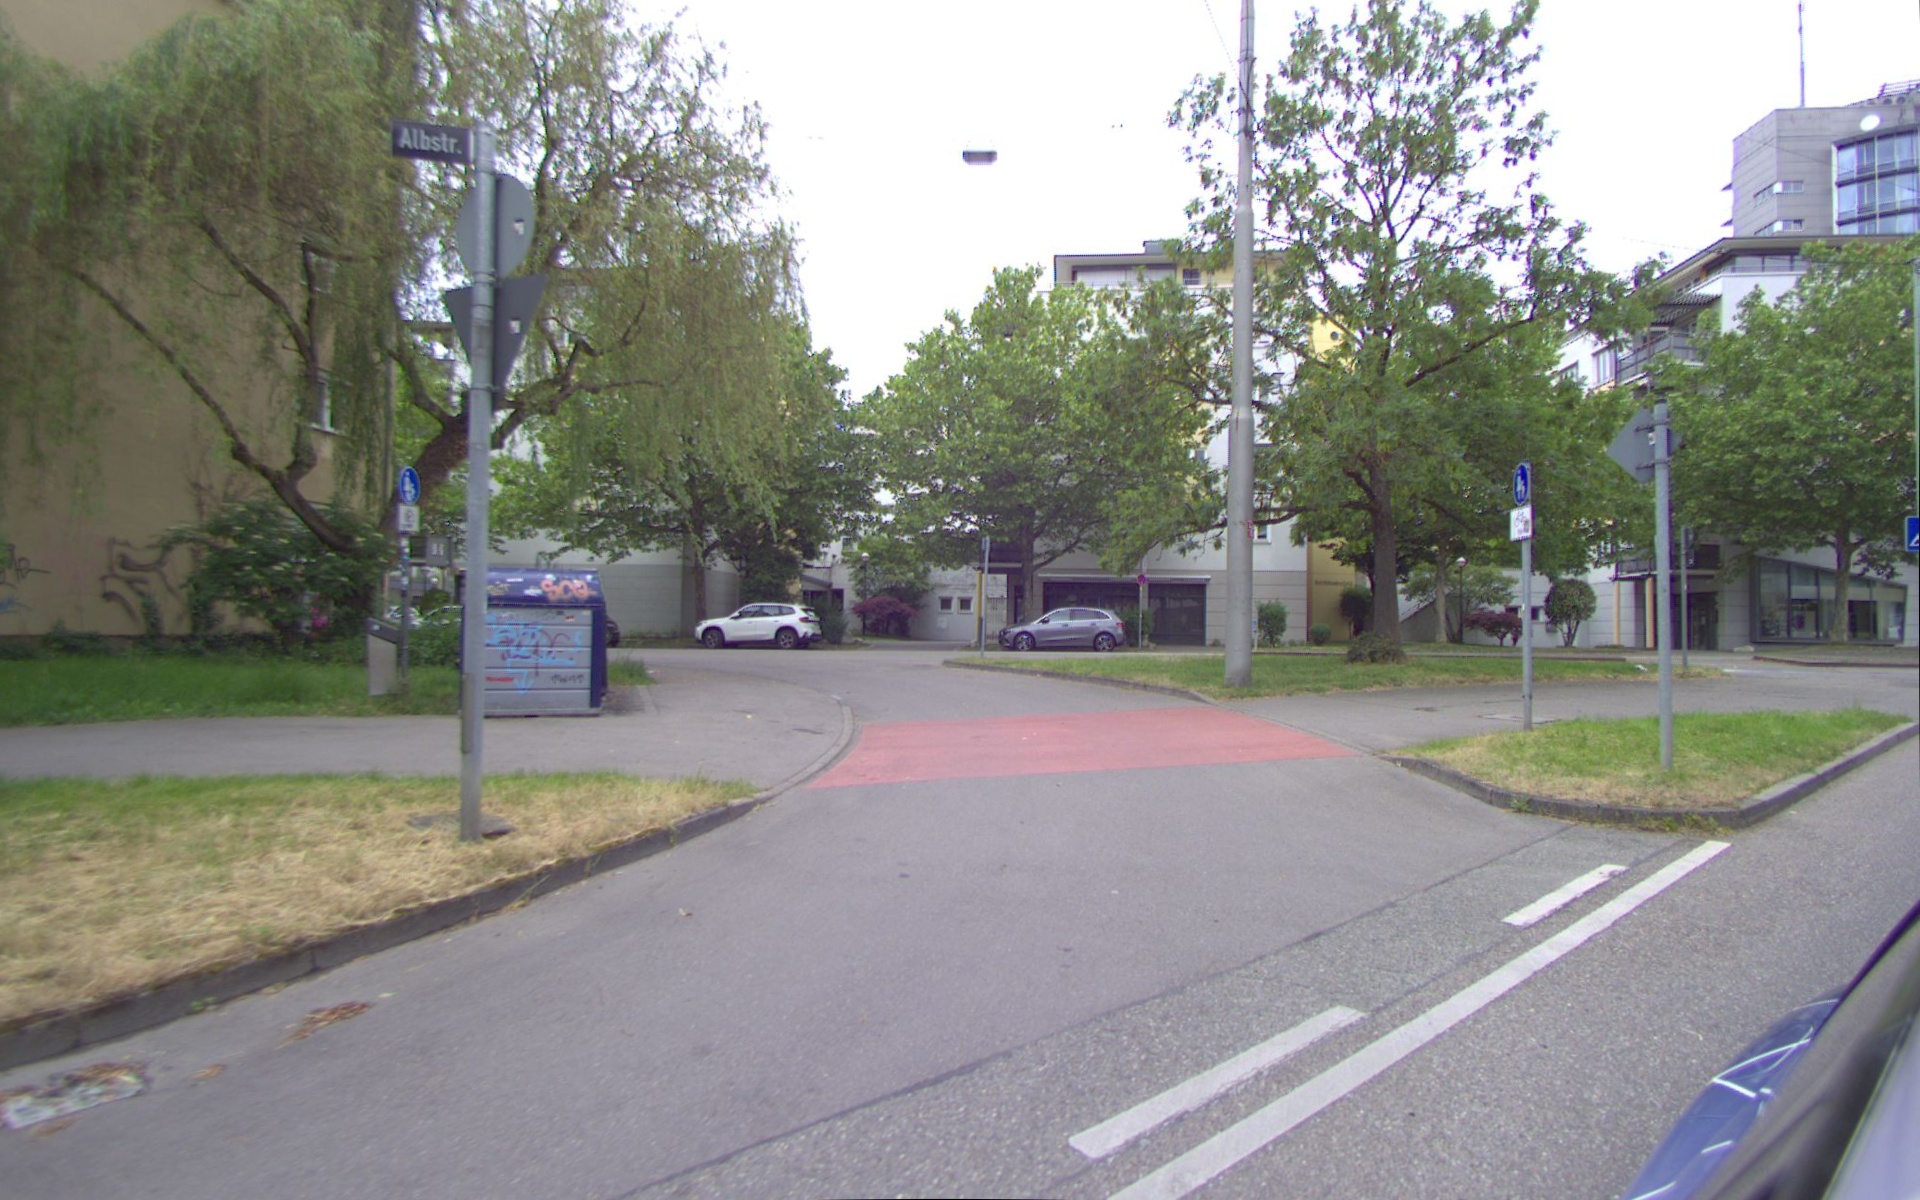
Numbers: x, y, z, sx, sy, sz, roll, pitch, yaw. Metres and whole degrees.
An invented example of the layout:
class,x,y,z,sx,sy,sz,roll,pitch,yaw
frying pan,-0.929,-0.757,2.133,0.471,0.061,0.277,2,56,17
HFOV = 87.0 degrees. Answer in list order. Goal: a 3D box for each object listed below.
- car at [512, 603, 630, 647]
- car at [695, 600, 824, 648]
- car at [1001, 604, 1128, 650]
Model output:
class,x,y,z,sx,sy,sz,roll,pitch,yaw
car,-14.210,0.884,37.035,3.660,1.529,1.796,0,0,8
car,-6.994,0.824,35.472,4.093,1.632,1.797,0,0,6
car,3.503,0.898,34.387,4.168,1.529,1.798,0,-1,5
